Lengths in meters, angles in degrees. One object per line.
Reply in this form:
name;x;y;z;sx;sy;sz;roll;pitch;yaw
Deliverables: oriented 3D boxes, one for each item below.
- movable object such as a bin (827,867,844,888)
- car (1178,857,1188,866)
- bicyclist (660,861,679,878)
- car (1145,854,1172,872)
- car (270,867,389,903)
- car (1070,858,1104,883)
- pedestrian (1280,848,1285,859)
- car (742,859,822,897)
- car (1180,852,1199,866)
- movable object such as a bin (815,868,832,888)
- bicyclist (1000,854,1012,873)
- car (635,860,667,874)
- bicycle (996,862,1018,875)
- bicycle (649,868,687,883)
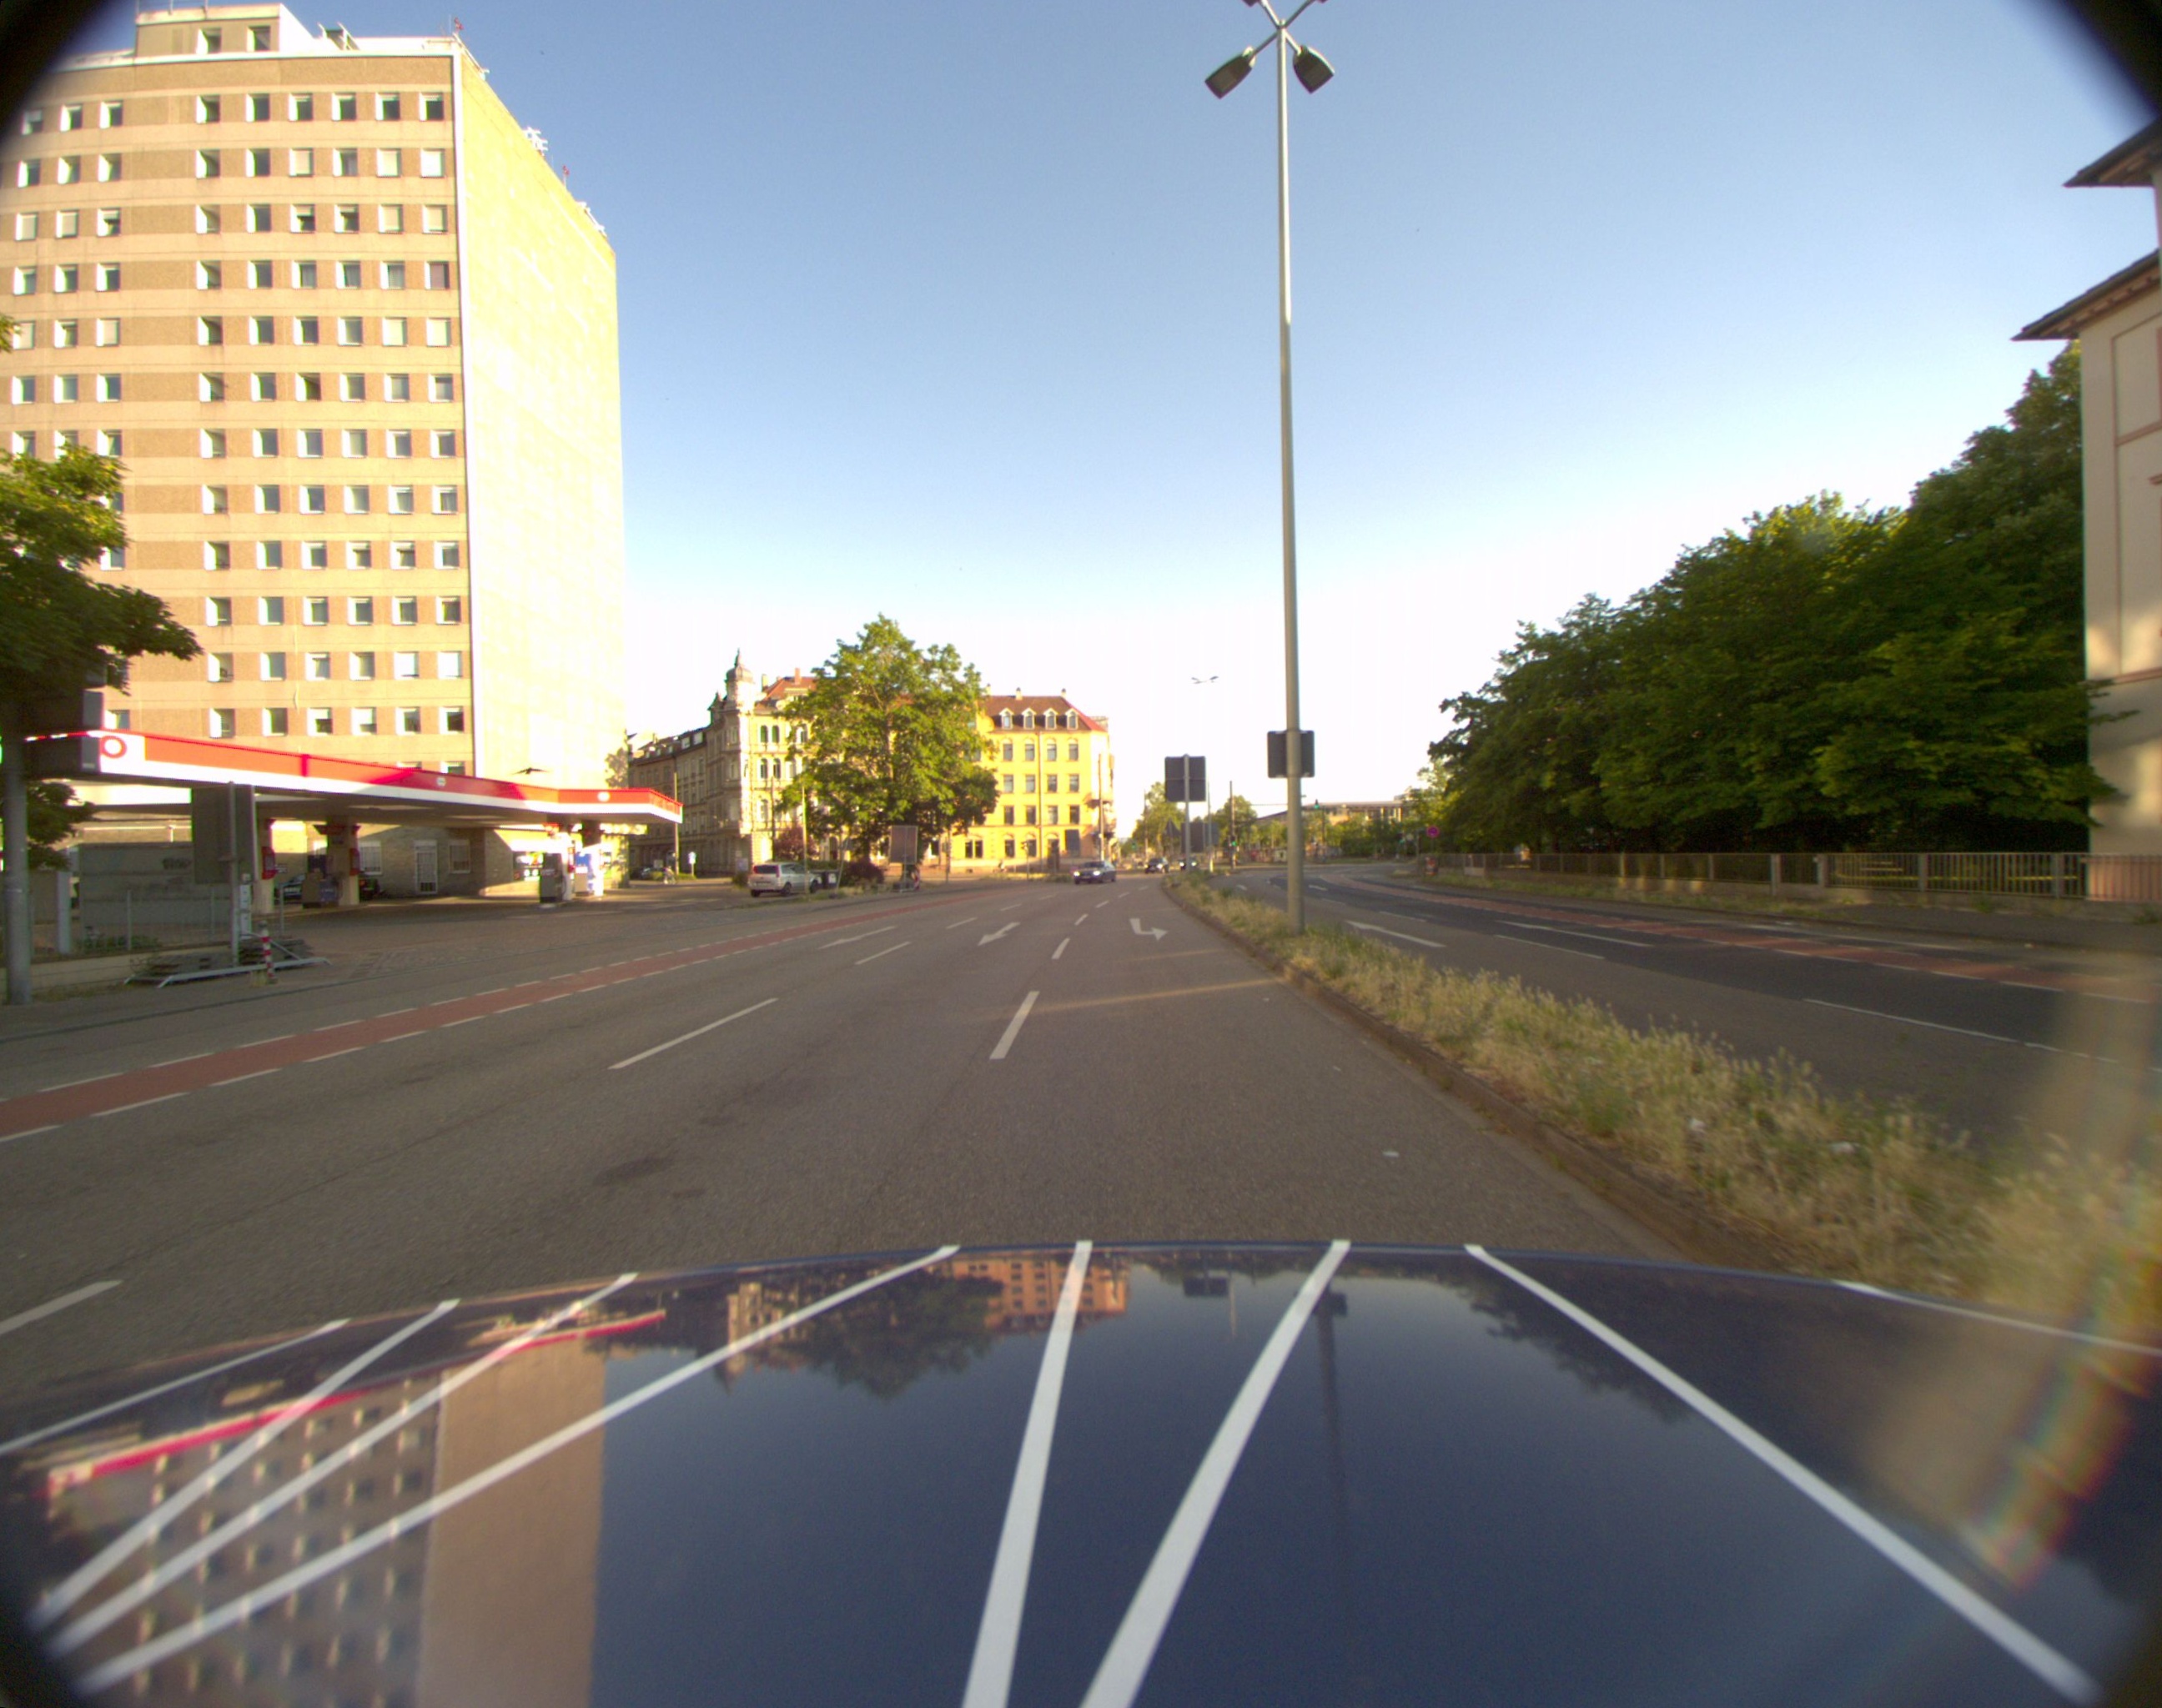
movable object such as a bin;-12.666;1.209;39.197;0.544;1.013;0.688;-1;1;6
car;18.218;1.342;135.517;1.673;1.410;4.443;-2;0;10
bicyclist;-34.369;1.297;63.467;1.069;1.357;0.854;-3;1;-5
car;7.050;0.816;68.756;1.582;1.440;3.877;-2;0;18
car;-35.444;1.447;35.887;3.793;1.508;1.770;-1;1;0
car;0.418;1.002;48.190;1.819;1.440;4.668;-2;0;4
pedestrian;35.684;-0.049;134.473;0.556;2.002;0.664;-1;1;1
car;-13.560;1.051;34.747;1.688;1.508;3.798;-1;1;8
car;11.908;0.525;83.458;1.730;1.440;4.049;-2;0;12
movable object such as a bin;-13.379;1.228;39.459;0.544;1.013;0.688;-1;1;6
bicyclist;-6.628;0.809;67.320;1.065;1.639;0.732;-1;1;-6
car;-48.670;1.510;85.939;3.988;1.524;2.004;-1;0;42
bicycle;-6.552;1.262;67.223;1.927;1.053;0.451;-1;1;-6
bicycle;-34.475;1.759;63.462;2.621;1.063;0.784;-3;1;-5
